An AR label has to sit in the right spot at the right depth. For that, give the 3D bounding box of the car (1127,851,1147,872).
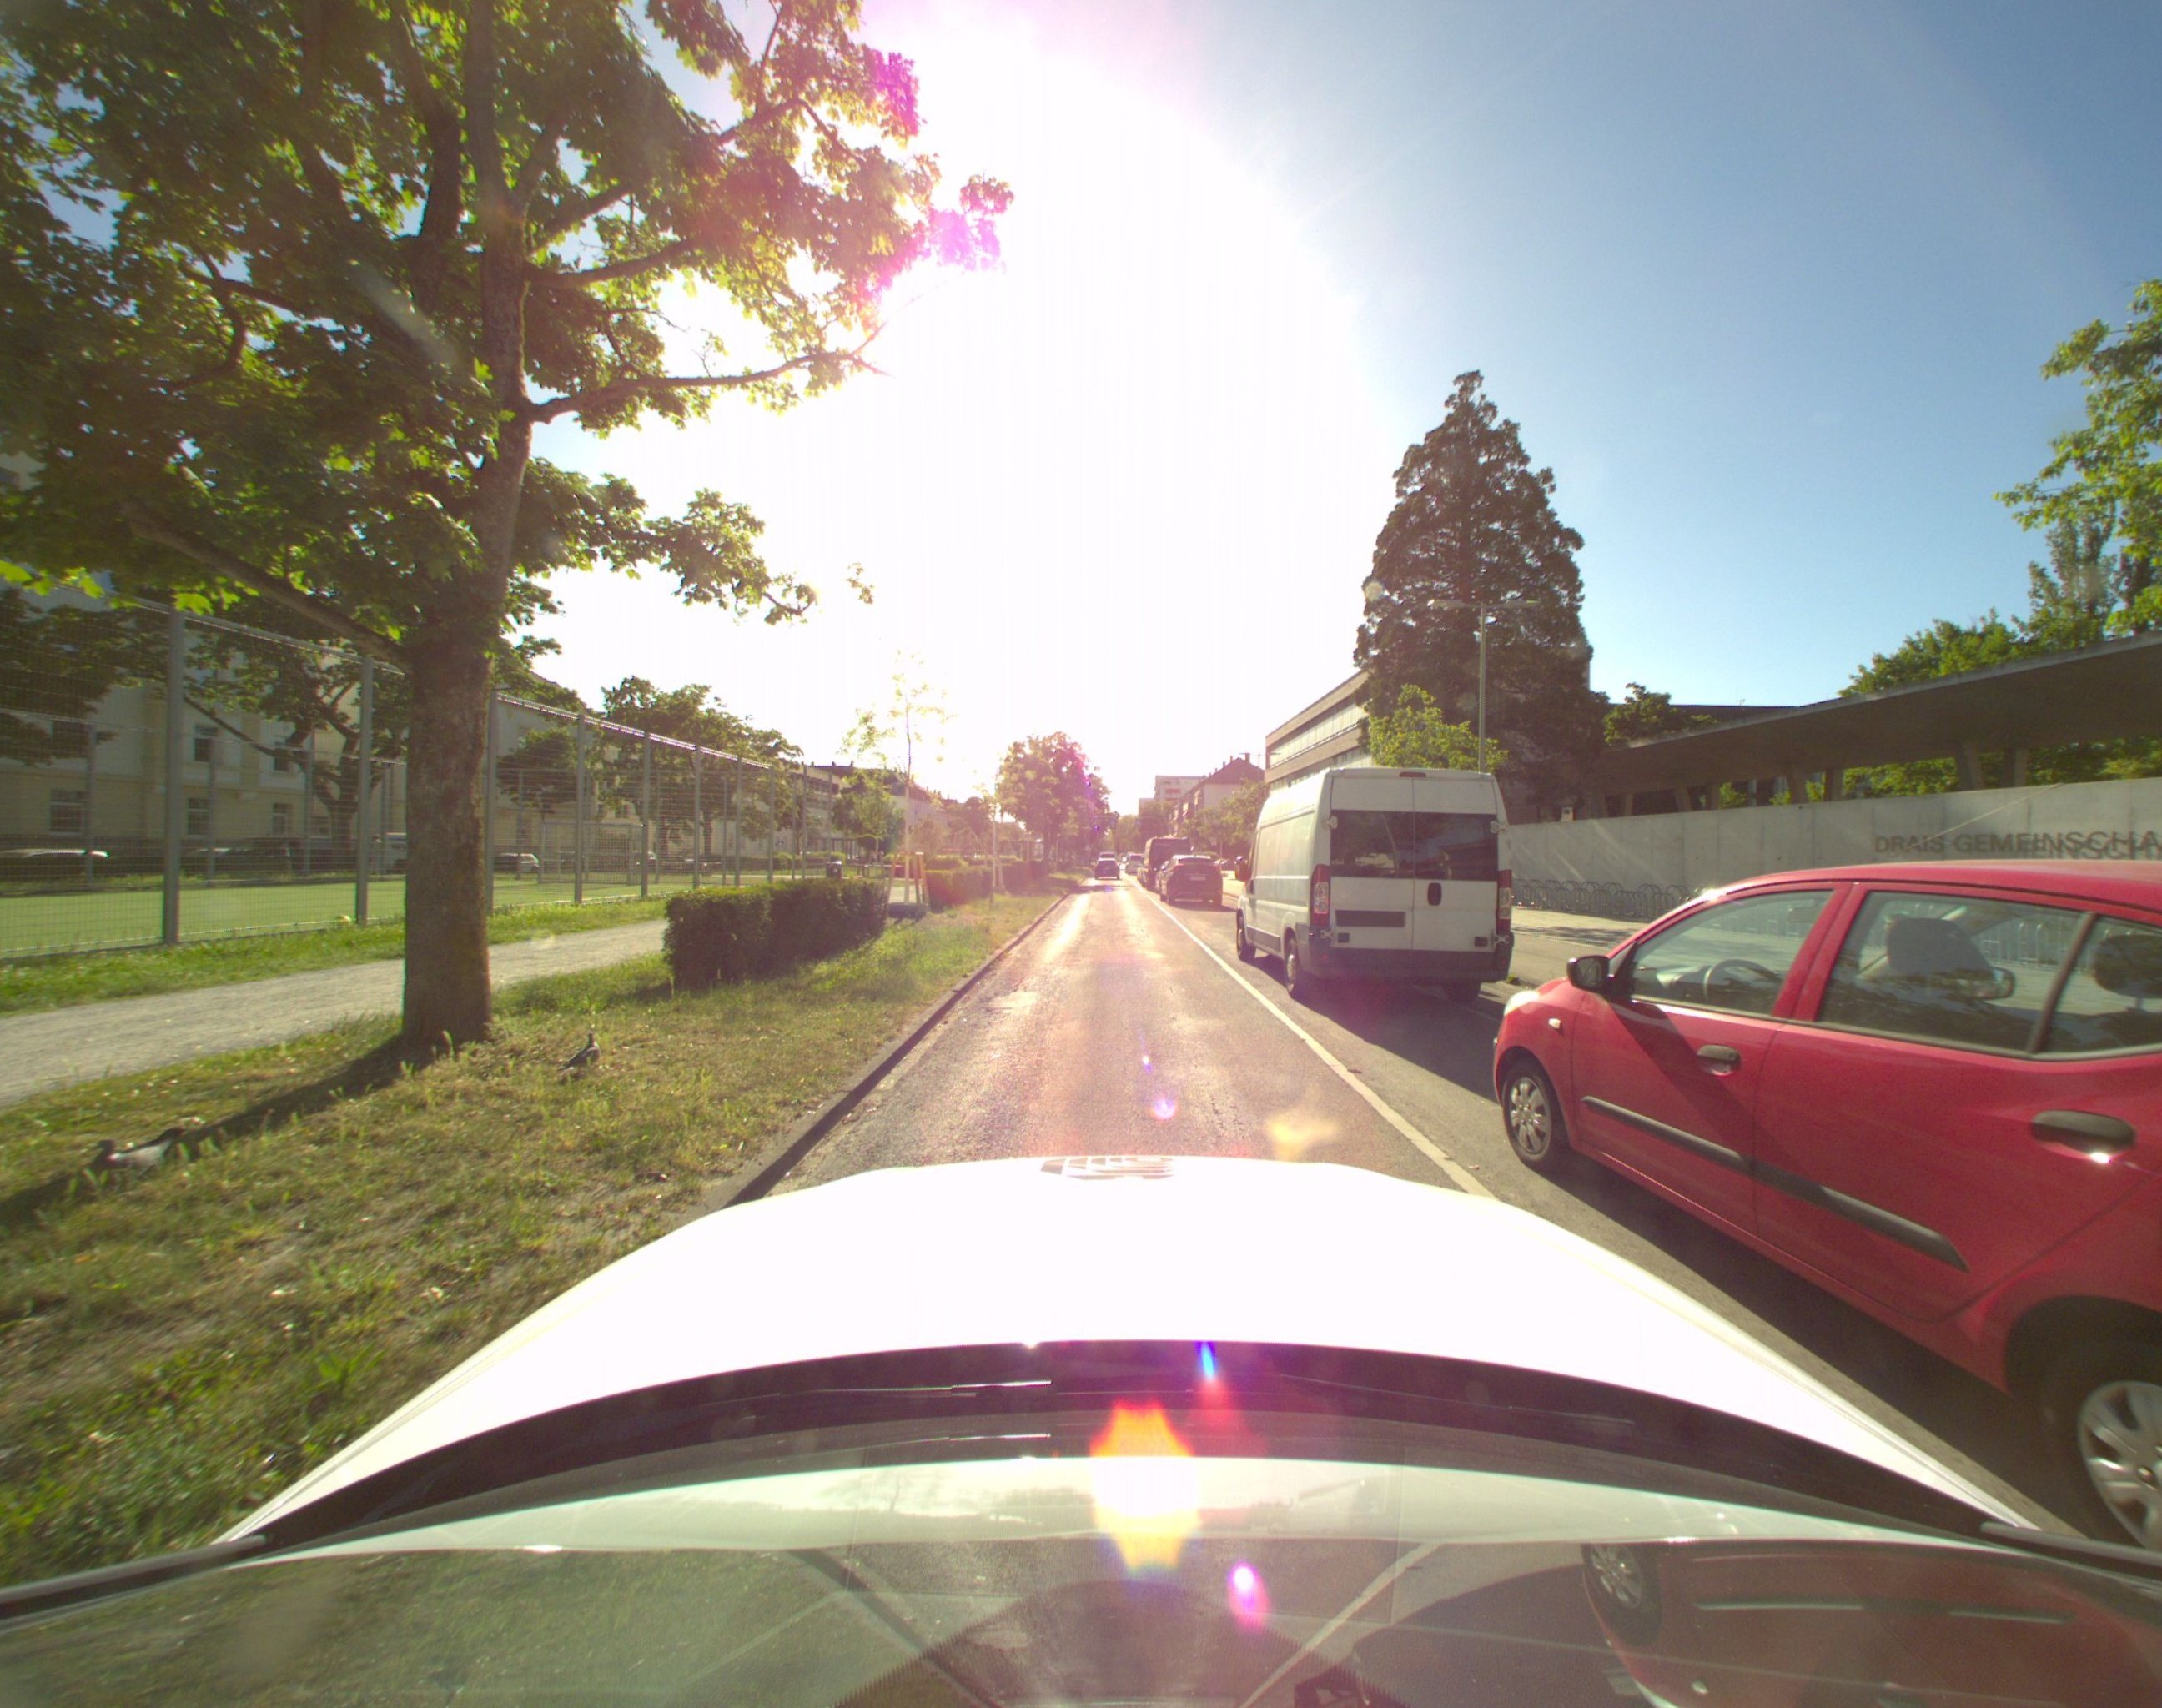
[{"bbox_3d":[5.080,0.646,73.919,1.786,1.855,4.418,1,0,4],"label":"car"}]

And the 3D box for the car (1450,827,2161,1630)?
[{"bbox_3d":[2.947,0.746,2.908,1.614,1.588,3.591,1,0,-1],"label":"car"}]

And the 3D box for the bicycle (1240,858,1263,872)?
[{"bbox_3d":[14.421,0.955,68.791,1.789,1.107,0.500,-2,0,-1],"label":"bicycle"}]

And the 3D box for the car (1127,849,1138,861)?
[{"bbox_3d":[10.886,0.254,172.208,1.986,2.430,4.502,2,0,2],"label":"car"}]

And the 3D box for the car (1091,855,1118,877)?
[{"bbox_3d":[1.682,0.839,57.920,1.787,1.510,4.002,1,0,2],"label":"car"}]

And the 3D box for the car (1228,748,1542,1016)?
[{"bbox_3d":[3.456,0.273,10.672,2.232,2.574,5.435,1,0,2],"label":"car"}]

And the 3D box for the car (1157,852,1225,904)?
[{"bbox_3d":[3.725,0.781,28.349,1.839,1.640,4.504,0,0,1],"label":"car"}]

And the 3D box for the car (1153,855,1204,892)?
[{"bbox_3d":[4.089,0.790,34.664,1.788,1.455,3.950,0,0,1],"label":"car"}]

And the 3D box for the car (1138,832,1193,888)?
[{"bbox_3d":[4.112,0.288,40.603,2.108,2.515,6.532,0,0,0],"label":"car"}]

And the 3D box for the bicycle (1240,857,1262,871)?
[{"bbox_3d":[14.612,0.878,70.046,1.789,1.107,0.500,-2,0,-1],"label":"bicycle"}]

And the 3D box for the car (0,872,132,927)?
[{"bbox_3d":[-37.922,1.600,29.451,1.787,1.777,4.491,1,0,2],"label":"car"}]

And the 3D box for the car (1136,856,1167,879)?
[{"bbox_3d":[4.614,0.868,53.996,1.788,1.420,4.659,0,0,1],"label":"car"}]

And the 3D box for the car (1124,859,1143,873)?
[{"bbox_3d":[5.130,1.209,80.563,1.758,1.319,4.170,2,-1,2],"label":"car"}]

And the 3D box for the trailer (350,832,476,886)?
[{"bbox_3d":[-38.215,0.291,46.865,2.335,2.870,5.804,1,0,1],"label":"trailer"}]

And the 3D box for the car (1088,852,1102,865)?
[{"bbox_3d":[1.880,0.614,111.626,1.787,1.624,4.002,1,0,2],"label":"car"}]

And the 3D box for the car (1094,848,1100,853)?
[{"bbox_3d":[4.994,-1.129,255.531,1.787,1.510,4.002,0,0,2],"label":"car"}]

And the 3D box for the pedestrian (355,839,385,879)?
[{"bbox_3d":[-29.748,0.219,34.085,0.645,1.661,0.650,0,0,2],"label":"pedestrian"}]

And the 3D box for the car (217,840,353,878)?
[{"bbox_3d":[-33.828,0.187,34.785,1.787,1.510,4.002,1,0,2],"label":"car"}]

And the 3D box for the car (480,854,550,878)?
[{"bbox_3d":[-38.092,0.767,54.941,1.787,1.510,4.002,1,0,2],"label":"car"}]

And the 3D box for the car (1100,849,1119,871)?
[{"bbox_3d":[2.850,0.563,81.821,1.787,2.122,4.002,1,0,2],"label":"car"}]
